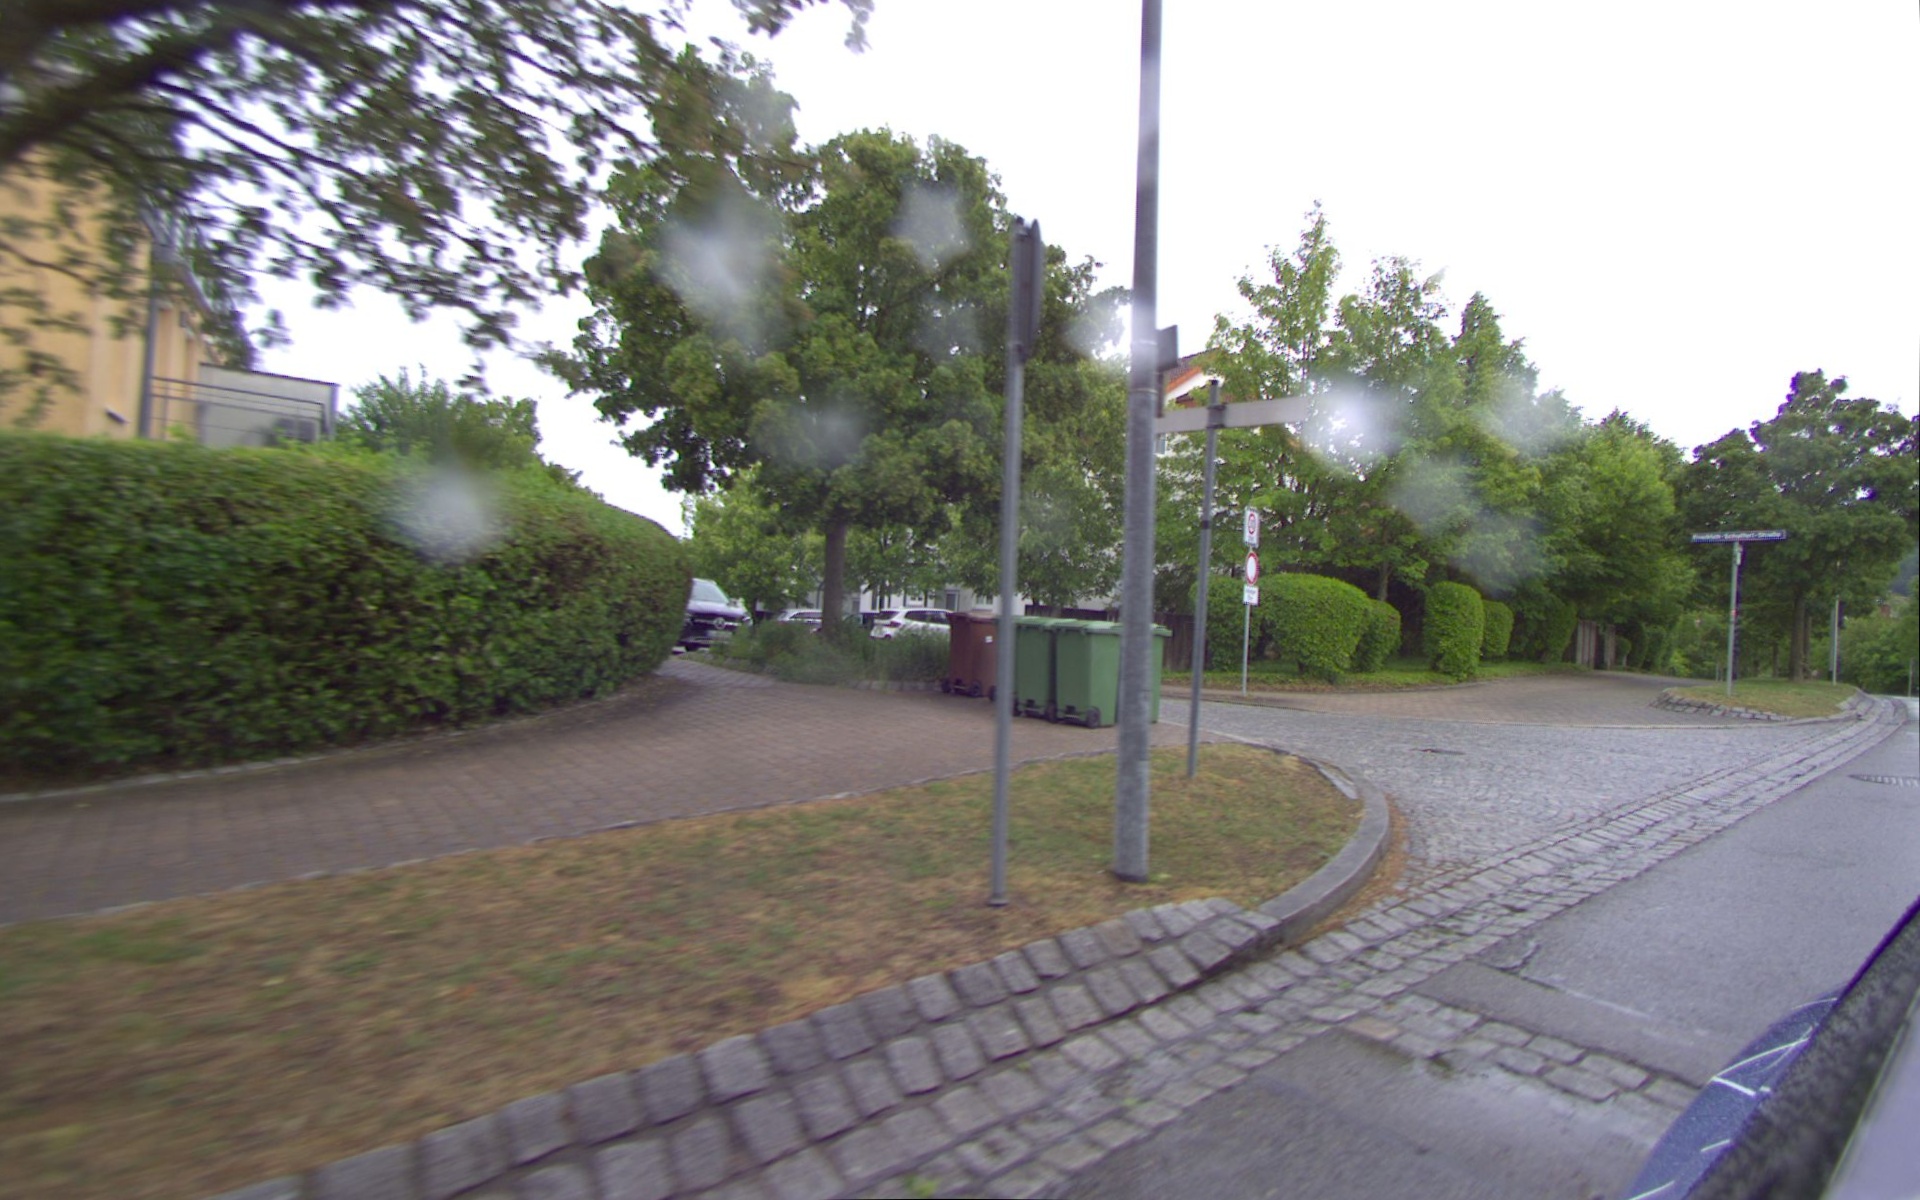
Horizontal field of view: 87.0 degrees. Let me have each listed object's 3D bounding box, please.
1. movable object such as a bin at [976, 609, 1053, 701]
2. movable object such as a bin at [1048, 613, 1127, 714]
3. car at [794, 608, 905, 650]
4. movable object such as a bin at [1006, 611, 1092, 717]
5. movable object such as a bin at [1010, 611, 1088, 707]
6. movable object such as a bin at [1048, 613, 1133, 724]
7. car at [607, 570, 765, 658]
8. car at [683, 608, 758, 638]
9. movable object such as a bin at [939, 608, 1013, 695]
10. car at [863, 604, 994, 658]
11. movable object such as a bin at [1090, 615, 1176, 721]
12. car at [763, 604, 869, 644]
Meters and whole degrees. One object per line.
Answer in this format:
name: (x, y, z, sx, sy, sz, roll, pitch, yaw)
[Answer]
movable object such as a bin: (0.669, 0.670, 12.476, 0.684, 1.068, 0.604, 3, -1, -43)
movable object such as a bin: (1.454, 0.710, 11.549, 0.684, 1.088, 0.542, 3, -1, -43)
car: (-4.311, 1.133, 39.507, 3.918, 1.547, 1.782, 2, 0, -28)
movable object such as a bin: (0.971, 0.682, 11.010, 0.684, 1.086, 0.596, 3, -1, -43)
movable object such as a bin: (1.058, 0.684, 11.994, 0.684, 1.081, 0.578, 3, -1, -43)
movable object such as a bin: (1.356, 0.700, 10.514, 0.656, 1.087, 0.543, 3, -1, -42)
car: (-5.738, 0.284, 20.885, 1.747, 1.538, 4.137, 6, -3, -35)
car: (-14.014, 1.345, 59.189, 3.918, 1.685, 1.782, 2, 0, -28)
movable object such as a bin: (0.206, 0.651, 13.060, 0.684, 1.068, 0.604, 3, -1, -43)
car: (-1.021, 1.029, 33.432, 3.918, 1.685, 1.782, 2, 0, -28)
movable object such as a bin: (1.890, 0.730, 11.066, 0.684, 1.088, 0.601, 3, -1, -43)
car: (-5.894, 0.989, 41.605, 3.918, 1.553, 1.782, 2, 0, -28)
